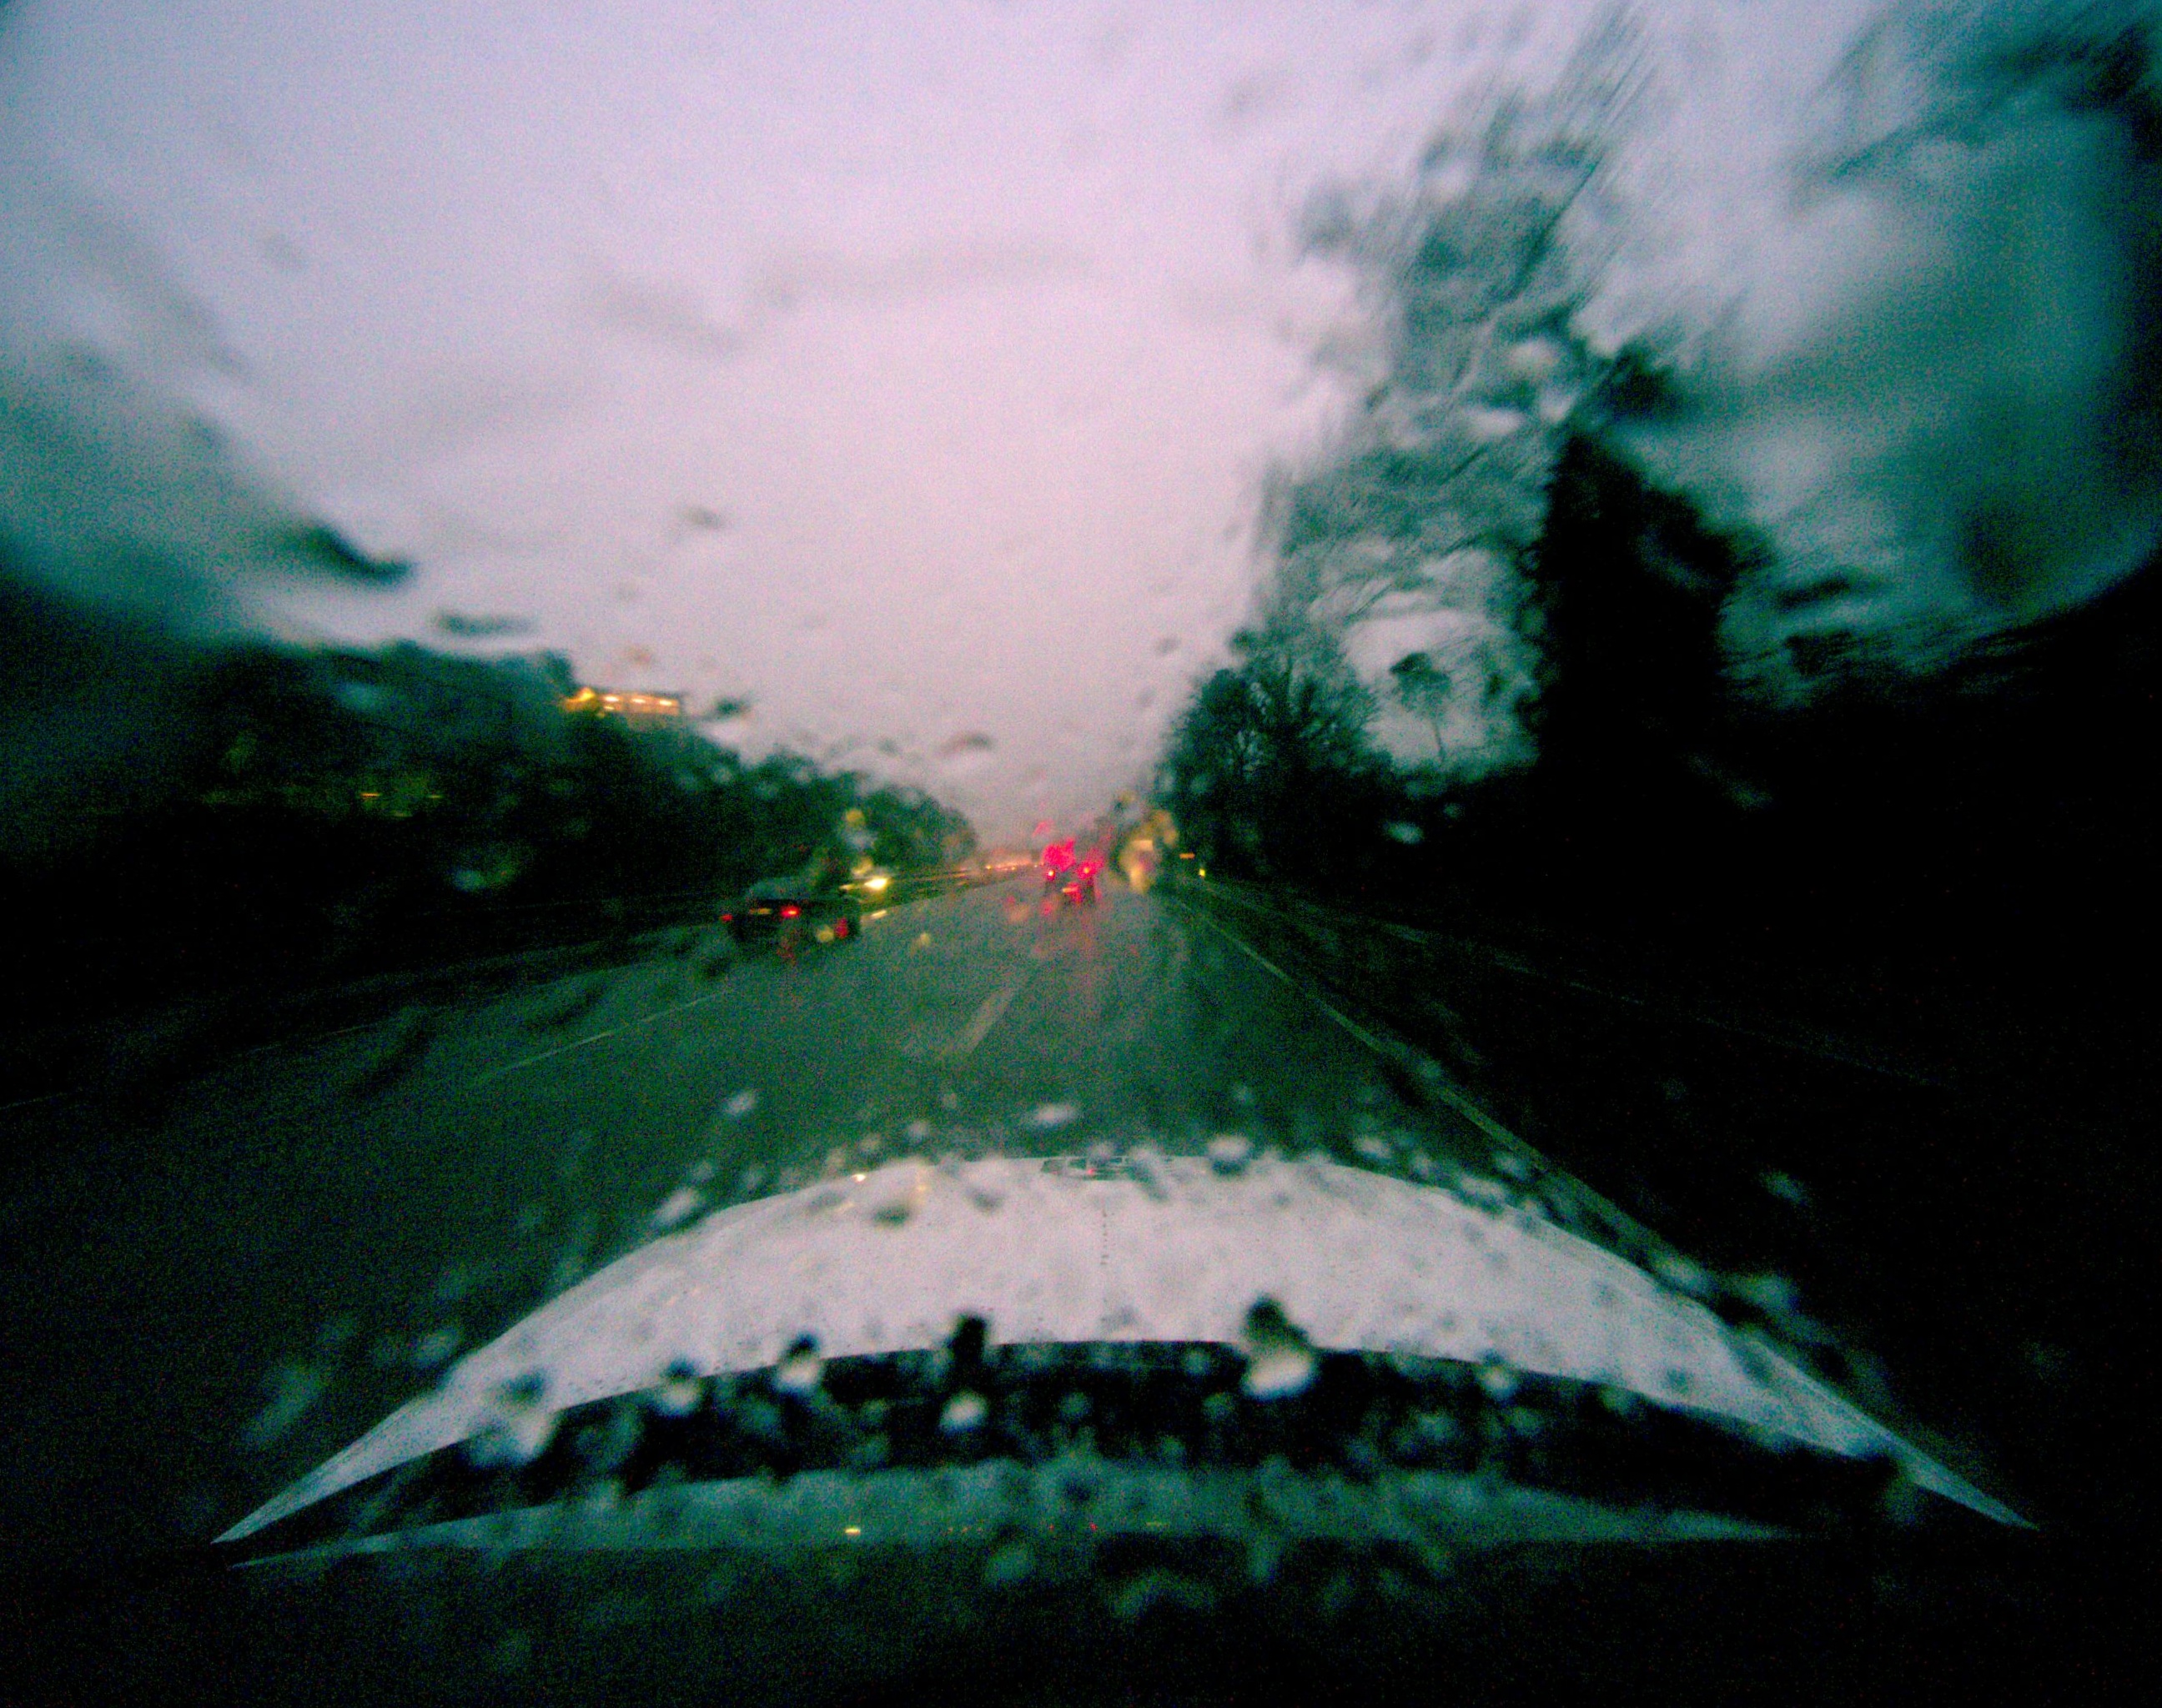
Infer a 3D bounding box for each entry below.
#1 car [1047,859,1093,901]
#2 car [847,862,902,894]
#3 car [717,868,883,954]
[{"bbox_3d":[-0.367,0.876,28.930,1.523,1.416,3.478,0,0,-1],"label":"car"},{"bbox_3d":[-11.631,1.303,46.126,1.836,1.657,4.669,-2,0,0],"label":"car"},{"bbox_3d":[-6.153,1.167,18.520,1.768,1.534,4.708,-4,-1,4],"label":"car"}]
